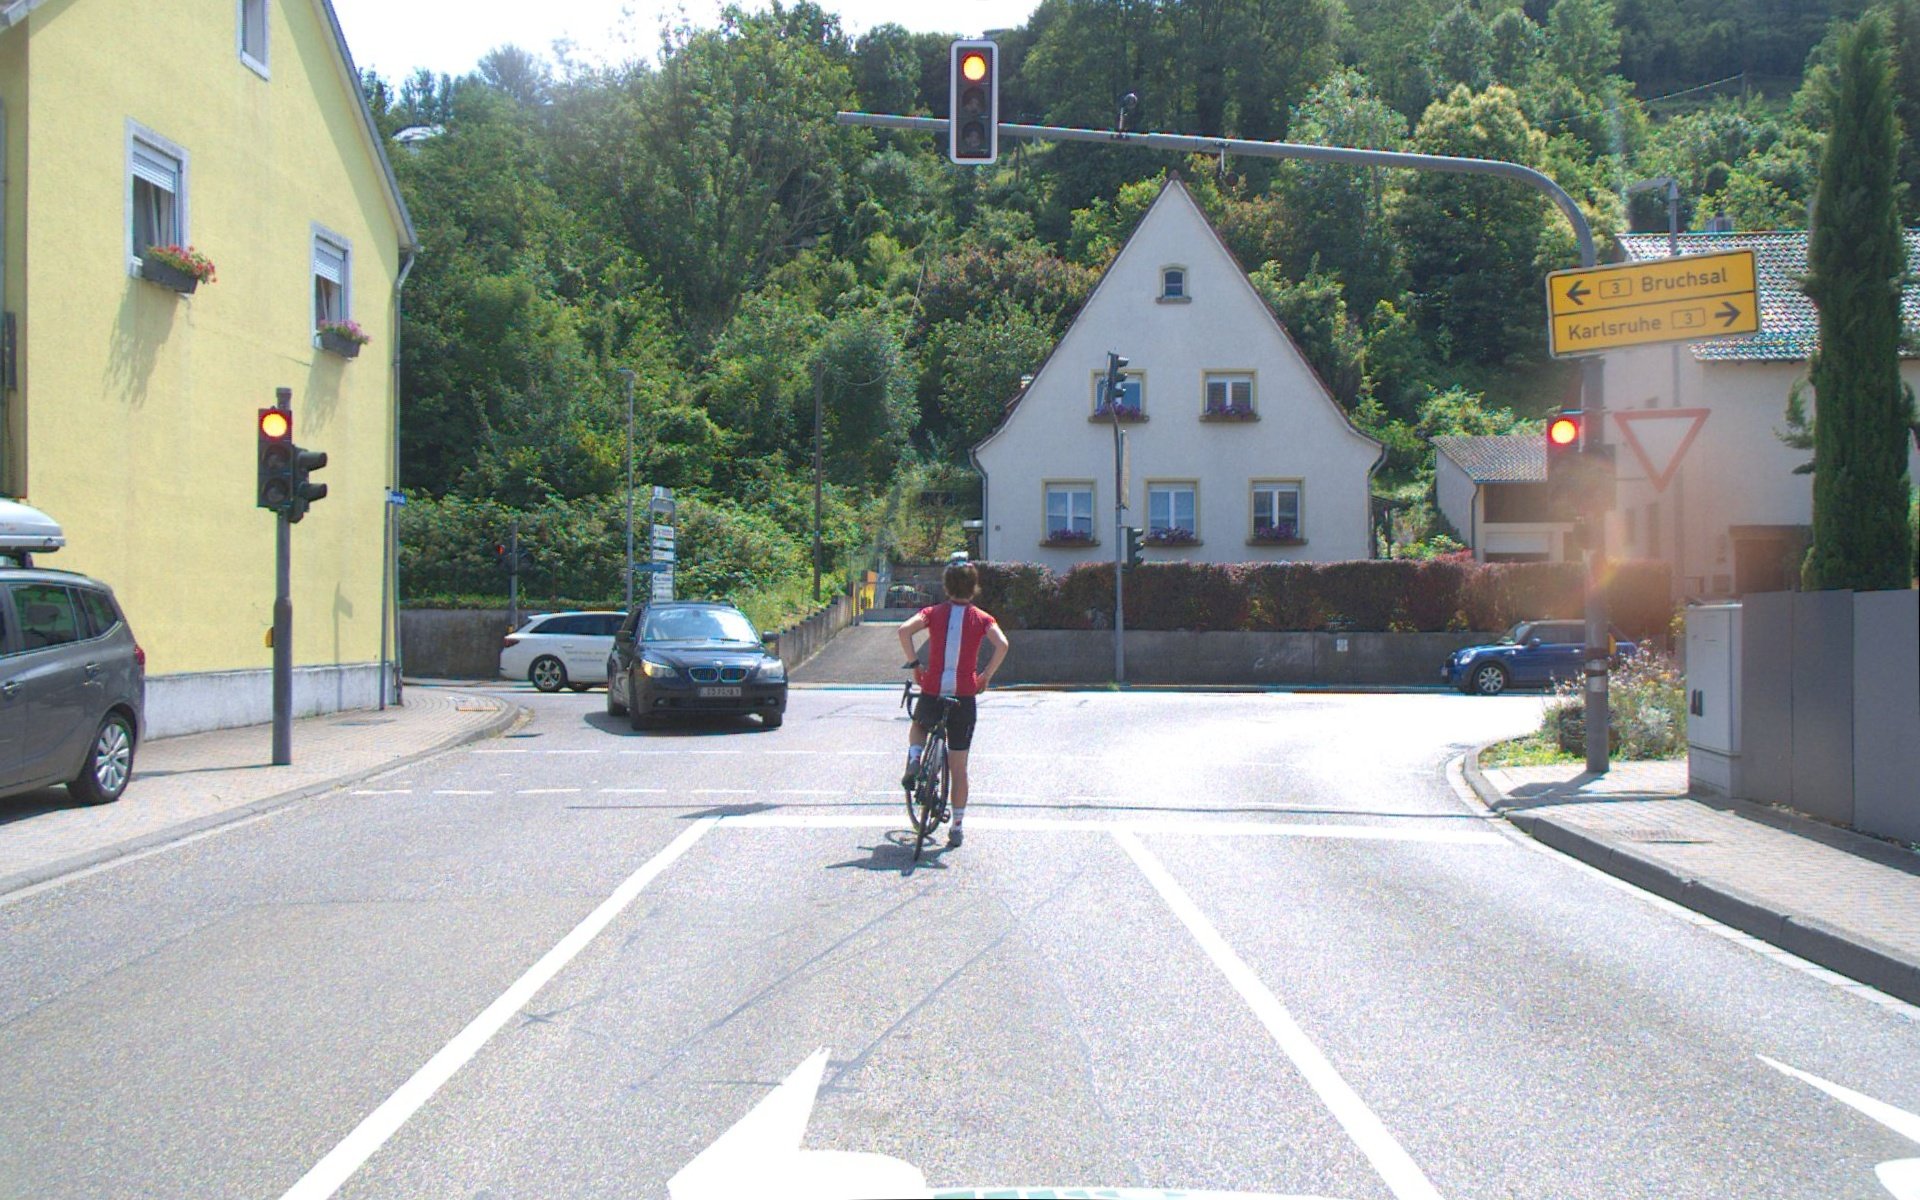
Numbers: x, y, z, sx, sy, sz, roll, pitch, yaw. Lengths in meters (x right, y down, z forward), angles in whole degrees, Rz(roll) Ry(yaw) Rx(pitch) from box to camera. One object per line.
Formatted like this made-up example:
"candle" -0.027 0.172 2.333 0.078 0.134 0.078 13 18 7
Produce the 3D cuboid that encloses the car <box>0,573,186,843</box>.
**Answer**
"car" -6.872 0.637 10.296 1.953 1.664 4.629 2 0 -1

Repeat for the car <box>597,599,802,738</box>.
"car" -3.349 0.764 20.506 1.834 1.467 4.647 -1 0 -18

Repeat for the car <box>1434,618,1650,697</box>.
"car" 10.908 1.091 31.177 3.533 1.387 1.645 1 -3 3

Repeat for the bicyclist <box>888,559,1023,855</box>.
"bicyclist" -0.032 0.619 9.991 0.745 1.693 0.868 1 0 -1

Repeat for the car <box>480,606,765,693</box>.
"car" -5.940 0.887 29.435 4.565 1.452 1.928 0 -2 5

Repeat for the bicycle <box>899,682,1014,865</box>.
"bicycle" -0.031 1.004 9.985 0.617 0.920 1.656 1 0 -1
